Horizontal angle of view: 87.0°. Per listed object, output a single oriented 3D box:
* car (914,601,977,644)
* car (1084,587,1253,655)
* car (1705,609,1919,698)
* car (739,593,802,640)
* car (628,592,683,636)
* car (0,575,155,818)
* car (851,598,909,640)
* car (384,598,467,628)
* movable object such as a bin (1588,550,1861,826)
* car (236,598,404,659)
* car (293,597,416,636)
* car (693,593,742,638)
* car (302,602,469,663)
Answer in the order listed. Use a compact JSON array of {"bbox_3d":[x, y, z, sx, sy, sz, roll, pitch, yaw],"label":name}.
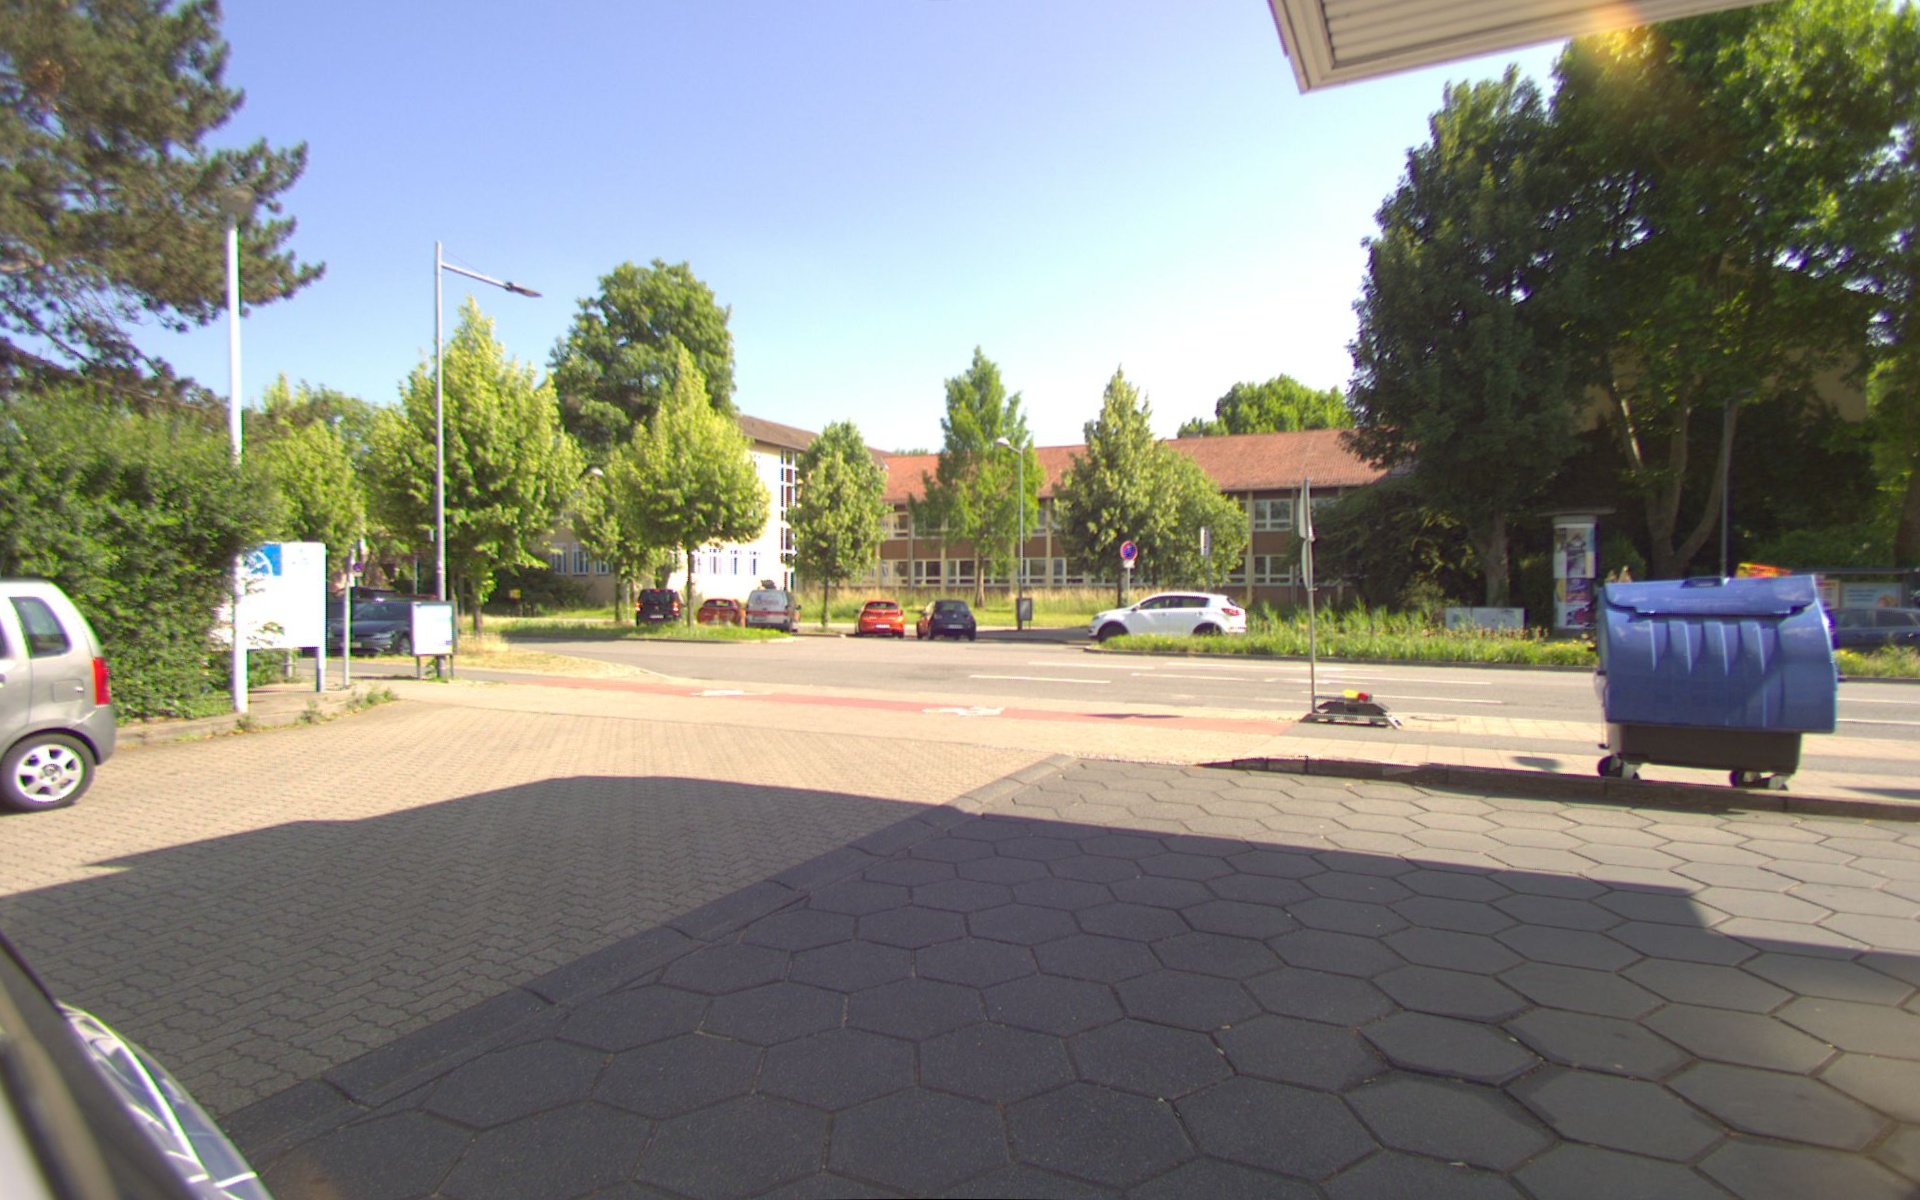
[{"bbox_3d":[-0.607,0.831,37.203,1.714,1.471,4.234,1,-1,-9],"label":"car"},{"bbox_3d":[5.835,0.560,28.303,4.362,1.782,1.985,0,0,23],"label":"car"},{"bbox_3d":[19.018,1.096,21.923,4.371,1.782,1.981,0,0,29],"label":"car"},{"bbox_3d":[-7.561,0.683,40.777,1.854,1.735,4.228,1,-1,-2],"label":"car"},{"bbox_3d":[-12.728,0.610,42.508,1.850,1.735,4.236,2,-2,-12],"label":"car"},{"bbox_3d":[-7.630,0.670,6.384,1.685,1.629,3.627,0,1,29],"label":"car"},{"bbox_3d":[-3.102,0.737,38.473,1.851,1.471,4.234,2,-1,-9],"label":"car"},{"bbox_3d":[-26.961,0.677,51.193,1.860,1.401,3.716,1,-2,9],"label":"car"},{"bbox_3d":[5.284,0.565,7.160,1.331,1.701,1.330,0,-2,28],"label":"movable object such as a bin"},{"bbox_3d":[-17.200,0.757,27.458,1.855,1.493,4.225,1,-1,0],"label":"car"},{"bbox_3d":[-27.100,0.746,45.261,5.630,1.623,1.982,0,-3,27],"label":"car"},{"bbox_3d":[-10.015,0.659,41.999,1.850,1.735,4.236,2,-2,-12],"label":"car"},{"bbox_3d":[-14.555,0.819,25.949,1.855,1.428,4.225,1,-2,0],"label":"car"}]
